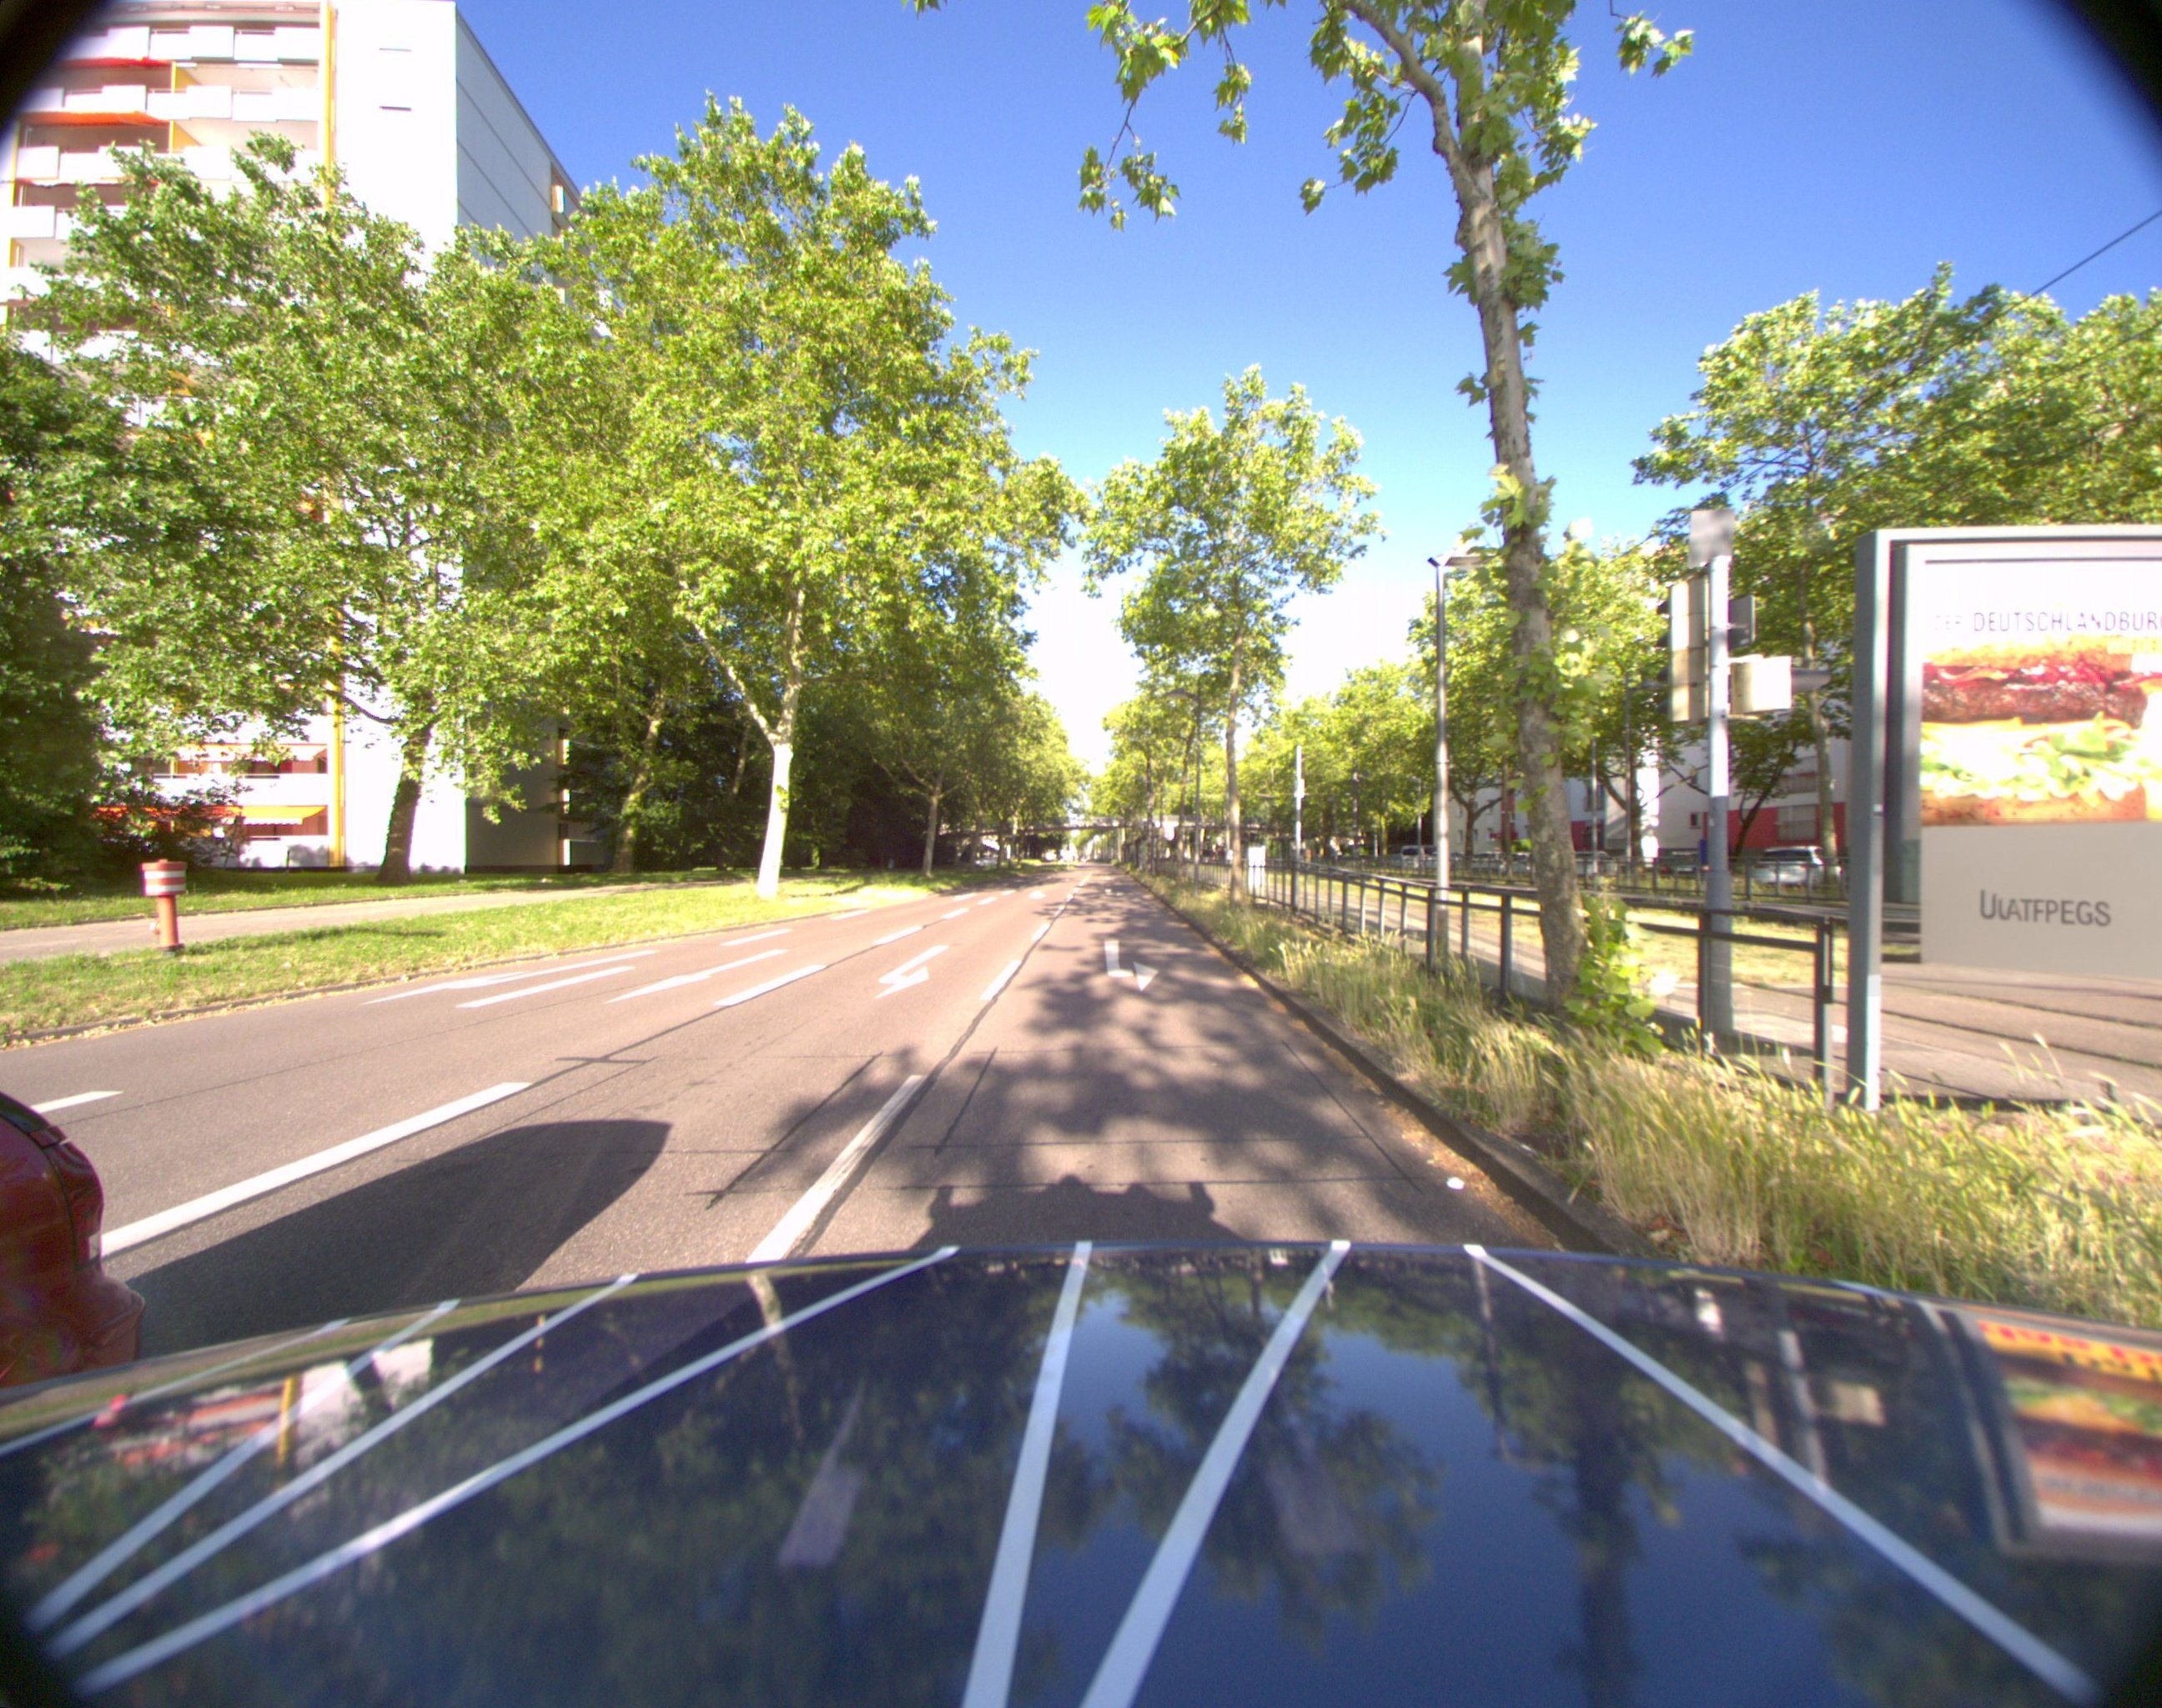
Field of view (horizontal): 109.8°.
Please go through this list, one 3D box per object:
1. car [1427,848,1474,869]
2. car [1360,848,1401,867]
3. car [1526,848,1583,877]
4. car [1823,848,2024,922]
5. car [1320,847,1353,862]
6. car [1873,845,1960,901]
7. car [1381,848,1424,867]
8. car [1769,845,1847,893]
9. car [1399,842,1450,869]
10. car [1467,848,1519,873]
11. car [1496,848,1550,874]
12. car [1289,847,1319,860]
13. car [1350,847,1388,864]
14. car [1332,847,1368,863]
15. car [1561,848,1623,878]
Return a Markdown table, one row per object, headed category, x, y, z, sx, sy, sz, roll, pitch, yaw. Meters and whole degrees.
| category | x | y | z | sx | sy | sz | roll | pitch | yaw |
| --- | --- | --- | --- | --- | --- | --- | --- | --- | --- |
| car | 26.305 | 0.308 | 54.032 | 3.811 | 1.433 | 1.652 | -2 | 0 | -42 |
| car | 24.946 | 0.270 | 63.209 | 3.811 | 1.433 | 1.652 | -2 | 0 | -42 |
| car | 25.866 | 0.441 | 41.478 | 3.811 | 1.433 | 1.652 | -2 | 0 | -42 |
| car | 19.297 | 0.657 | 17.568 | 1.579 | 1.548 | 2.817 | -2 | 0 | 3 |
| car | 26.788 | 0.043 | 79.625 | 3.811 | 1.433 | 1.652 | -2 | 0 | -42 |
| car | 25.248 | 0.522 | 22.966 | 3.811 | 1.501 | 1.652 | -2 | 0 | -42 |
| car | 25.732 | 0.267 | 60.752 | 3.811 | 1.433 | 1.652 | -2 | 0 | -42 |
| car | 25.361 | 0.487 | 26.475 | 3.811 | 1.501 | 1.652 | -2 | 0 | -42 |
| car | 25.821 | 0.087 | 57.029 | 4.330 | 1.863 | 1.836 | -2 | 0 | -42 |
| car | 25.854 | 0.395 | 47.678 | 3.811 | 1.433 | 1.652 | -2 | 0 | -42 |
| car | 26.101 | 0.405 | 44.864 | 3.811 | 1.433 | 1.652 | -2 | 0 | -42 |
| car | 26.441 | -0.050 | 89.974 | 3.811 | 1.433 | 1.652 | -2 | 0 | -42 |
| car | 26.621 | 0.133 | 70.133 | 3.811 | 1.433 | 1.652 | -2 | 0 | -42 |
| car | 26.068 | 0.131 | 73.564 | 3.811 | 1.433 | 1.652 | -2 | 0 | -42 |
| car | 25.386 | 0.446 | 37.697 | 3.811 | 1.348 | 1.652 | -2 | 0 | -42 |
